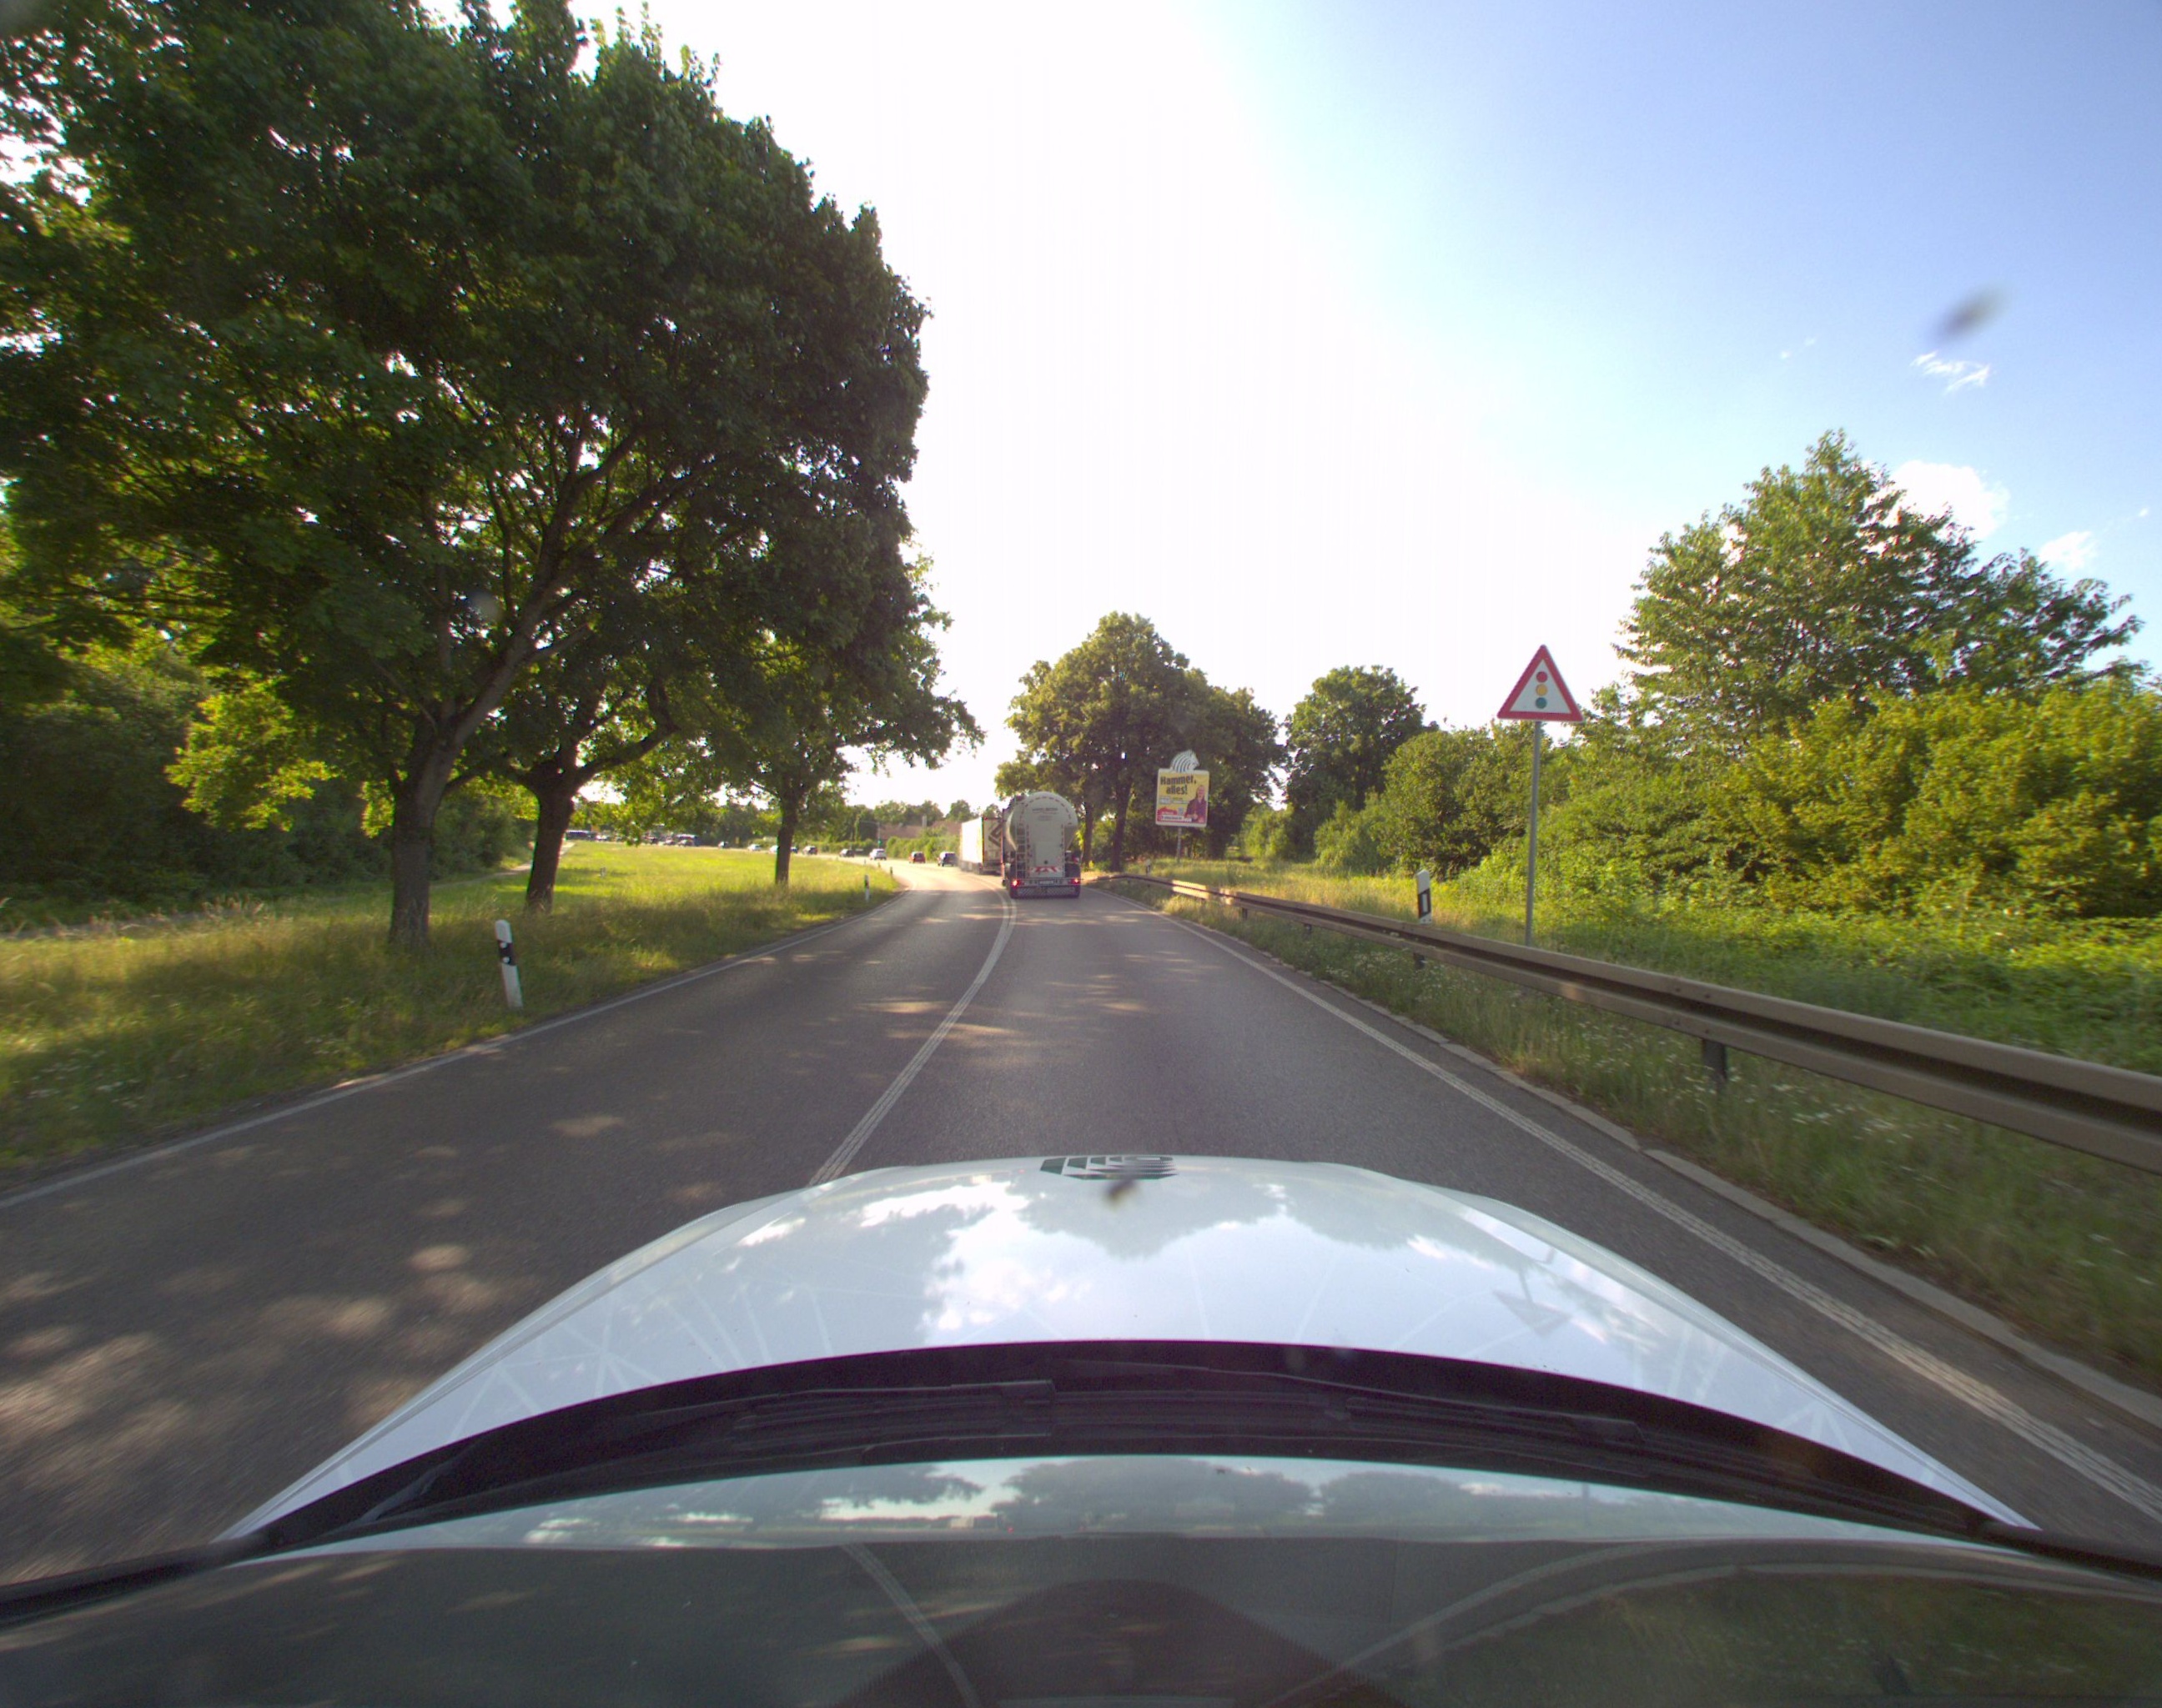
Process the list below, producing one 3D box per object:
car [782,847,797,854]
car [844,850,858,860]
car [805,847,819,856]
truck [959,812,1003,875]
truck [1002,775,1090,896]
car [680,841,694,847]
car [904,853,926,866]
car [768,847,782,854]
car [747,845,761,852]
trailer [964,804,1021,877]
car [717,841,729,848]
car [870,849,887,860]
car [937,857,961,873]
[{"bbox_3d":[-61.518,-0.697,171.759,1.693,1.559,3.827,0,-1,-40],"label":"car"},{"bbox_3d":[-40.131,0.170,142.235,1.529,1.656,3.835,0,-1,-30],"label":"car"},{"bbox_3d":[-53.931,-0.488,163.170,1.531,1.656,3.830,0,-1,-36],"label":"car"},{"bbox_3d":[-8.334,-0.779,67.120,2.966,4.886,6.401,0,-1,-13],"label":"truck"},{"bbox_3d":[-1.777,-0.583,34.089,2.972,4.175,11.636,0,-1,-6],"label":"truck"},{"bbox_3d":[-104.842,-2.616,216.835,2.104,1.599,3.951,0,1,-45],"label":"car"},{"bbox_3d":[-21.431,0.691,105.073,2.306,1.656,4.387,0,-1,-19],"label":"car"},{"bbox_3d":[-67.360,-0.804,179.478,1.693,1.559,3.827,0,-1,-40],"label":"car"},{"bbox_3d":[-75.983,-1.211,189.040,1.992,1.656,3.827,0,-1,-40],"label":"car"},{"bbox_3d":[-6.696,-0.847,59.943,2.968,4.882,10.241,0,-1,-13],"label":"trailer"},{"bbox_3d":[-89.590,-2.436,203.829,1.741,1.656,3.828,0,-1,-39],"label":"car"},{"bbox_3d":[-31.326,0.074,125.817,1.851,1.656,3.966,0,-1,-26],"label":"car"},{"bbox_3d":[-14.374,1.192,88.662,1.999,1.656,3.974,0,-1,-19],"label":"car"}]
